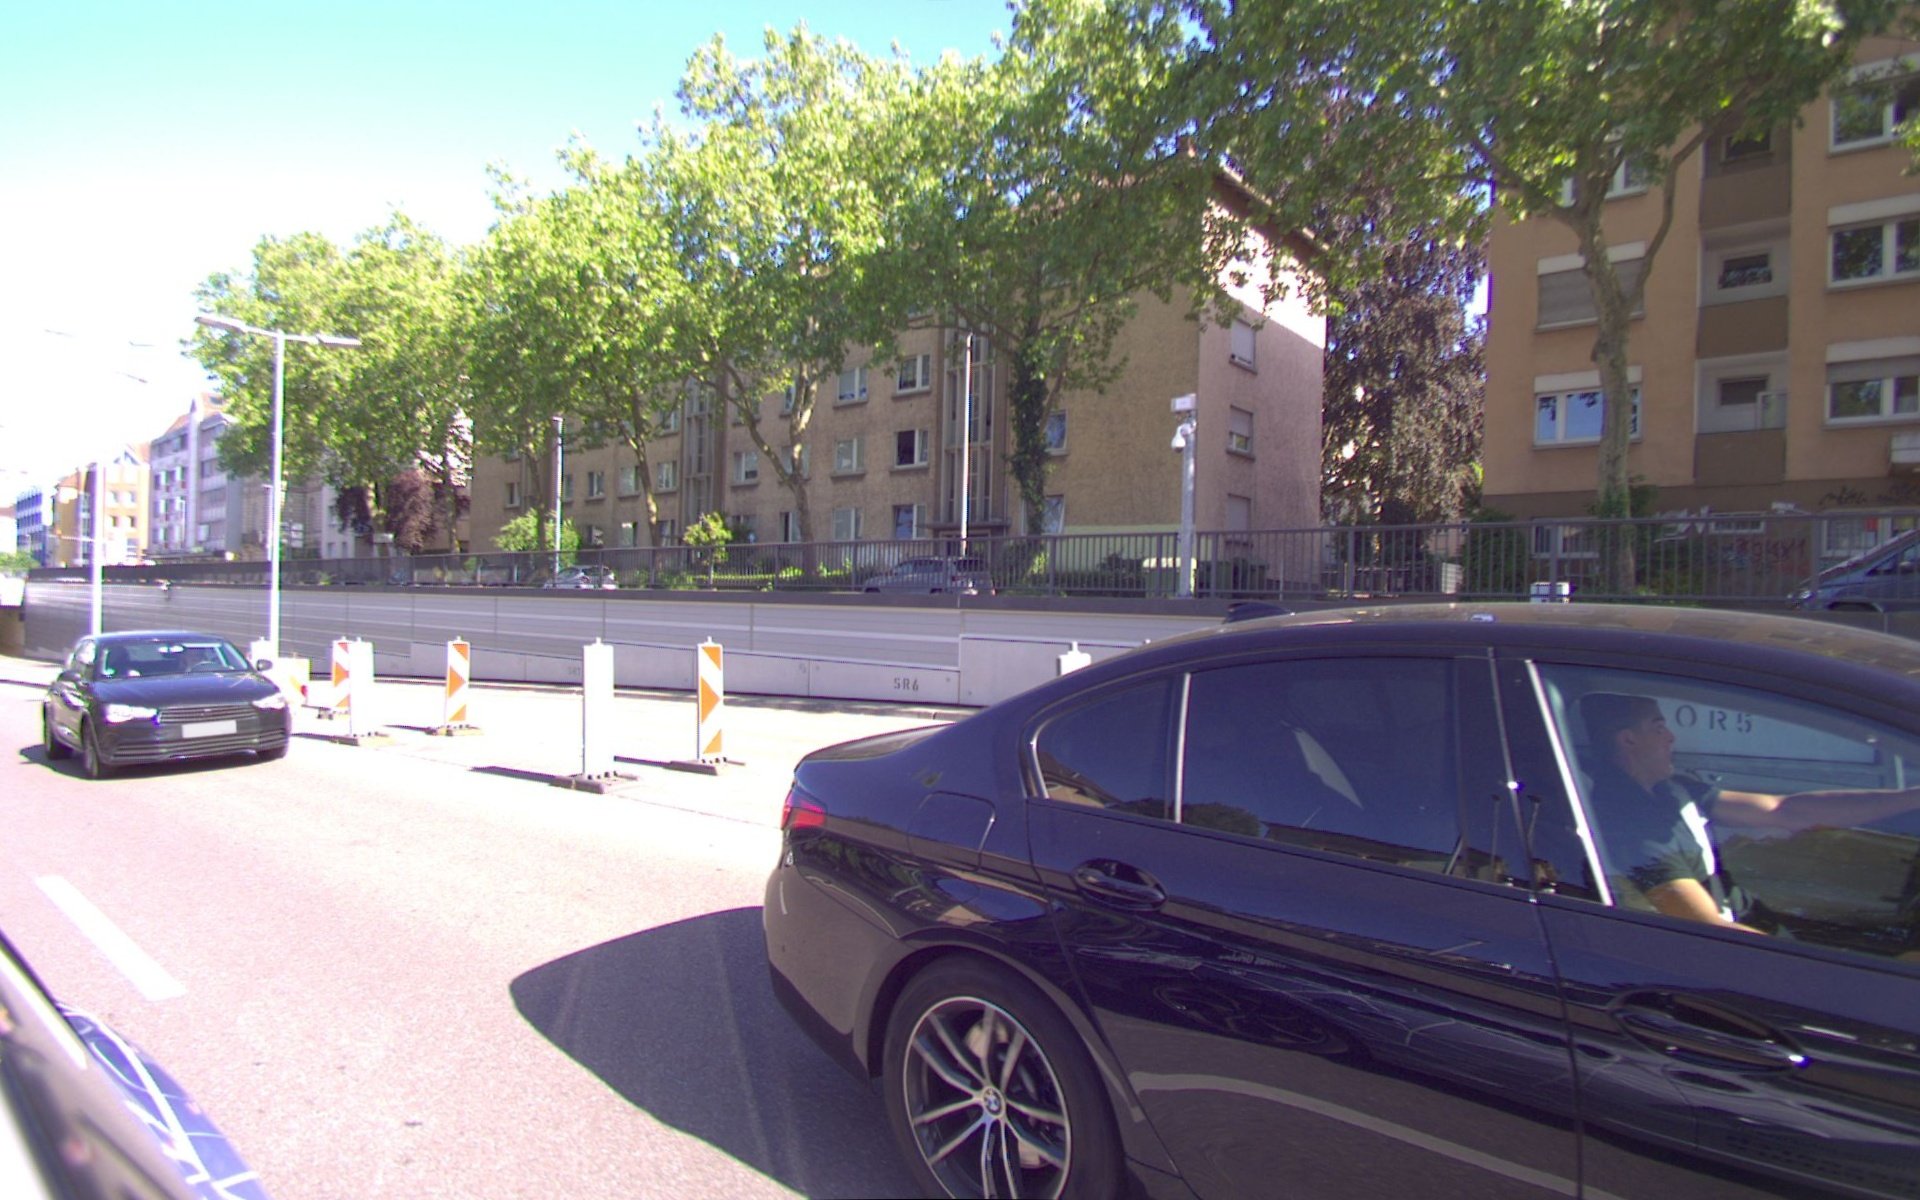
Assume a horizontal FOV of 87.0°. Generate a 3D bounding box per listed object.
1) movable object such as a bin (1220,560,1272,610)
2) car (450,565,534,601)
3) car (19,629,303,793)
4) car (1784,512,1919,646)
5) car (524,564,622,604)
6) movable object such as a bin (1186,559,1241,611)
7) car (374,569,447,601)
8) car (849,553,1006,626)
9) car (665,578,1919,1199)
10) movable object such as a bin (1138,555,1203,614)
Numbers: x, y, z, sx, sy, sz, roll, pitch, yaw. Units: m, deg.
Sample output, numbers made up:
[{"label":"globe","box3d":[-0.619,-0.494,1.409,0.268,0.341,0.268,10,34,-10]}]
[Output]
[{"label":"movable object such as a bin","box3d":[8.760,-0.464,31.008,1.146,1.495,1.301,0,0,38]},{"label":"car","box3d":[-22.032,-0.772,47.601,4.299,1.596,1.902,0,0,39]},{"label":"car","box3d":[-8.819,1.086,11.065,3.885,1.429,1.678,-2,-1,40]},{"label":"car","box3d":[15.294,-0.319,15.156,4.522,1.975,1.947,0,0,39]},{"label":"car","box3d":[-16.091,-0.641,42.021,4.299,1.596,1.902,0,0,39]},{"label":"movable object such as a bin","box3d":[7.469,-0.432,29.819,1.146,1.495,1.301,0,0,38]},{"label":"car","box3d":[-29.094,-0.762,53.557,4.299,1.596,1.902,0,0,39]},{"label":"car","box3d":[-1.001,-0.285,29.348,4.411,1.975,1.945,0,0,41]},{"label":"car","box3d":[1.629,0.688,2.002,4.998,1.450,1.790,1,1,40]},{"label":"movable object such as a bin","box3d":[5.567,-0.394,26.707,1.354,1.495,1.196,0,0,33]}]
